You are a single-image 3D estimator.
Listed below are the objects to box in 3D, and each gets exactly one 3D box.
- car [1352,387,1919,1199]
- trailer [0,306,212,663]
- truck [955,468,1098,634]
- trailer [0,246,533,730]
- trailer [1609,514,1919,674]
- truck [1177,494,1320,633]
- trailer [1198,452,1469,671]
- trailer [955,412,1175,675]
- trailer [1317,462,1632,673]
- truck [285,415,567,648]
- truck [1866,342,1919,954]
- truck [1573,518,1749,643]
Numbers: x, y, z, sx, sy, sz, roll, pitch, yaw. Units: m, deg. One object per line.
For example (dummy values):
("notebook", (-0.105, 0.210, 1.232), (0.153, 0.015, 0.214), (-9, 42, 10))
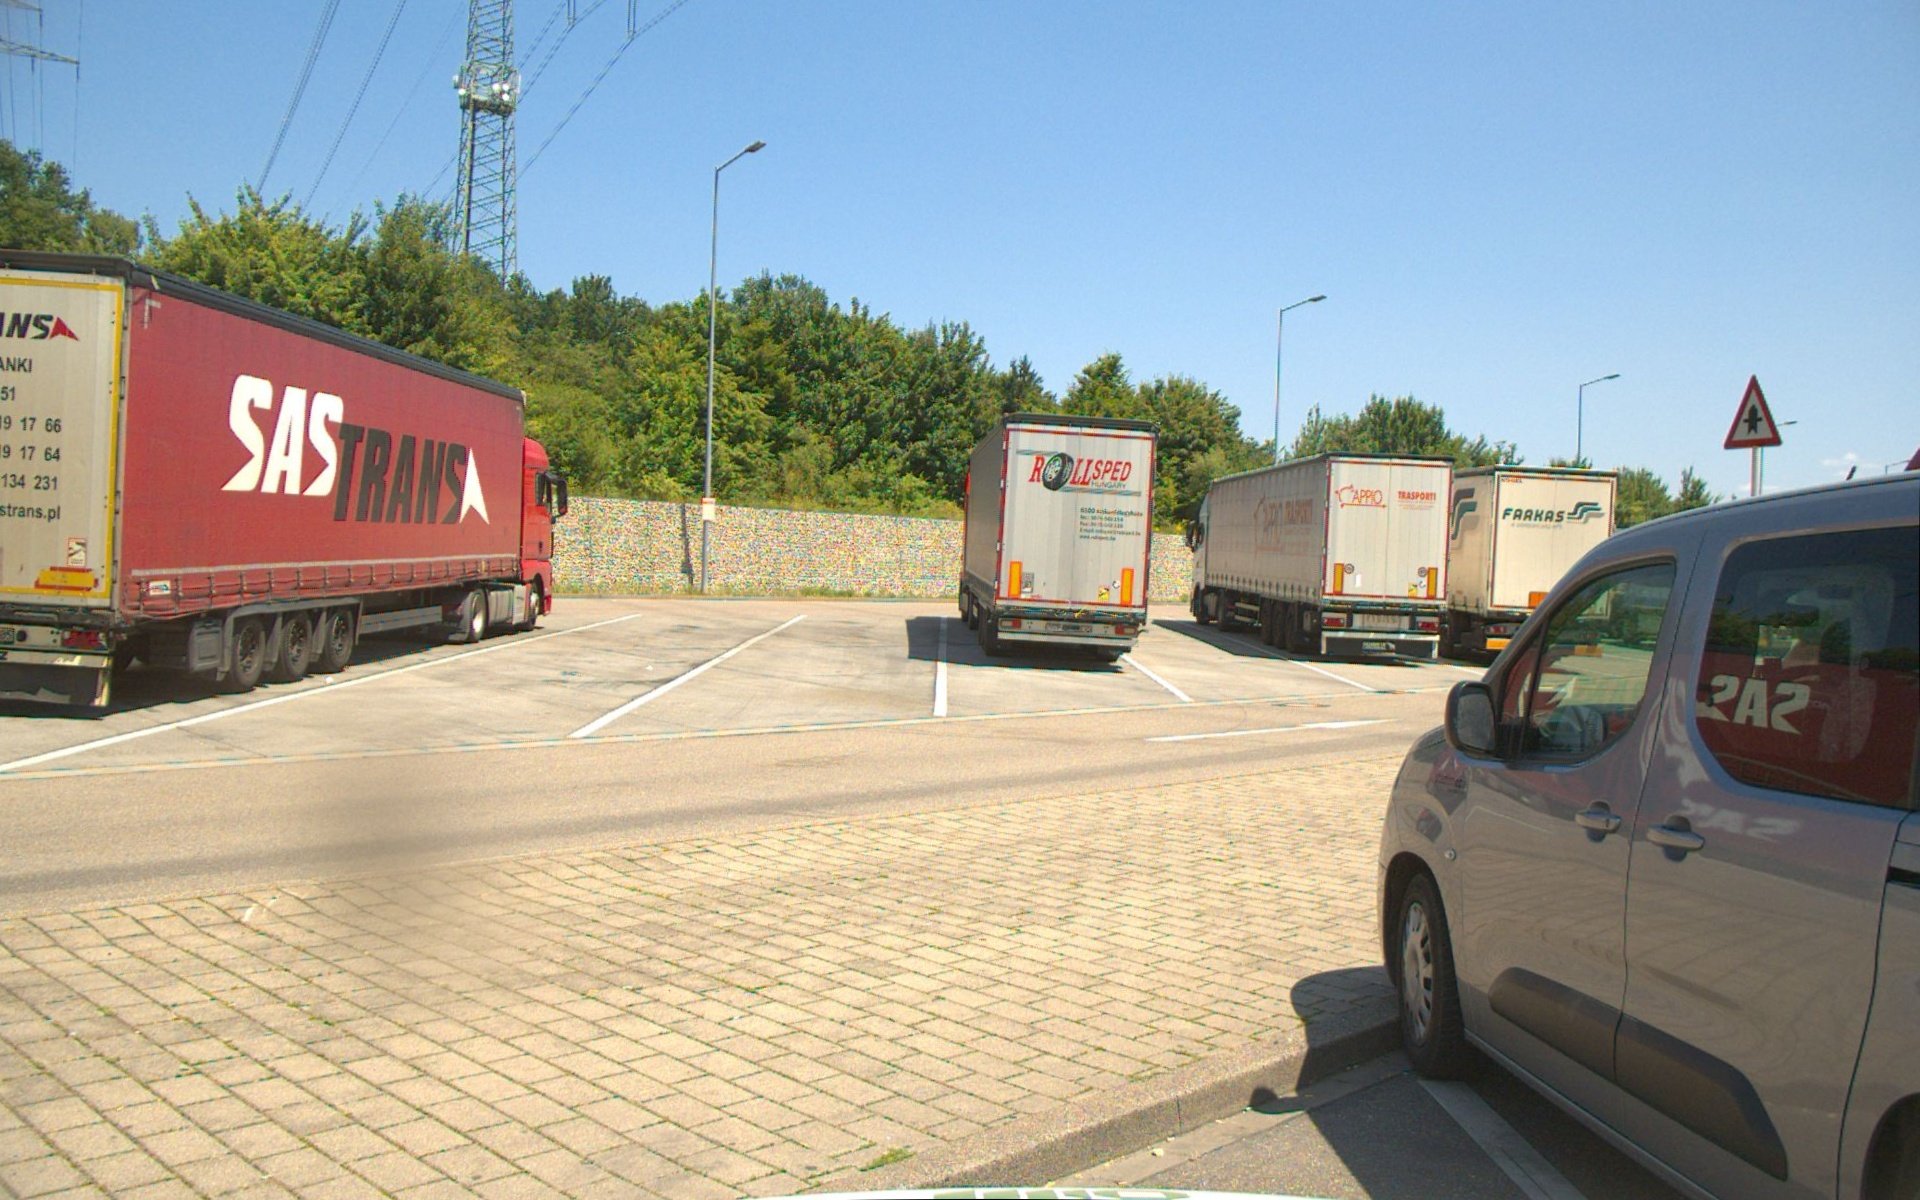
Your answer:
("car", (2.436, 0.604, 3.847), (1.832, 1.896, 4.174), (3, 1, -2))
("trailer", (-12.554, -1.335, 17.705), (2.739, 4.155, 14.131), (3, 2, -1))
("truck", (1.501, -1.237, 40.523), (3.041, 3.628, 5.900), (3, 2, -1))
("trailer", (-8.727, -1.289, 21.427), (2.735, 4.155, 14.131), (3, 2, -1))
("trailer", (21.843, -0.387, 44.495), (2.754, 3.568, 14.395), (3, 2, -1))
("truck", (8.054, -1.090, 46.941), (2.804, 3.582, 5.900), (3, 2, -1))
("trailer", (8.170, -1.027, 38.841), (2.754, 4.058, 14.395), (3, 2, -1))
("trailer", (1.657, -1.192, 33.632), (3.070, 4.058, 14.393), (3, 2, -1))
("trailer", (11.733, -0.932, 39.945), (2.754, 4.058, 14.395), (3, 2, -1))
("truck", (-8.792, -1.149, 27.998), (2.793, 3.385, 5.900), (3, 2, -1))
("truck", (4.998, 0.201, 4.970), (1.937, 2.668, 5.307), (1, 0, 4))
("truck", (21.766, -0.692, 51.725), (2.746, 3.582, 5.900), (3, 2, -1))
